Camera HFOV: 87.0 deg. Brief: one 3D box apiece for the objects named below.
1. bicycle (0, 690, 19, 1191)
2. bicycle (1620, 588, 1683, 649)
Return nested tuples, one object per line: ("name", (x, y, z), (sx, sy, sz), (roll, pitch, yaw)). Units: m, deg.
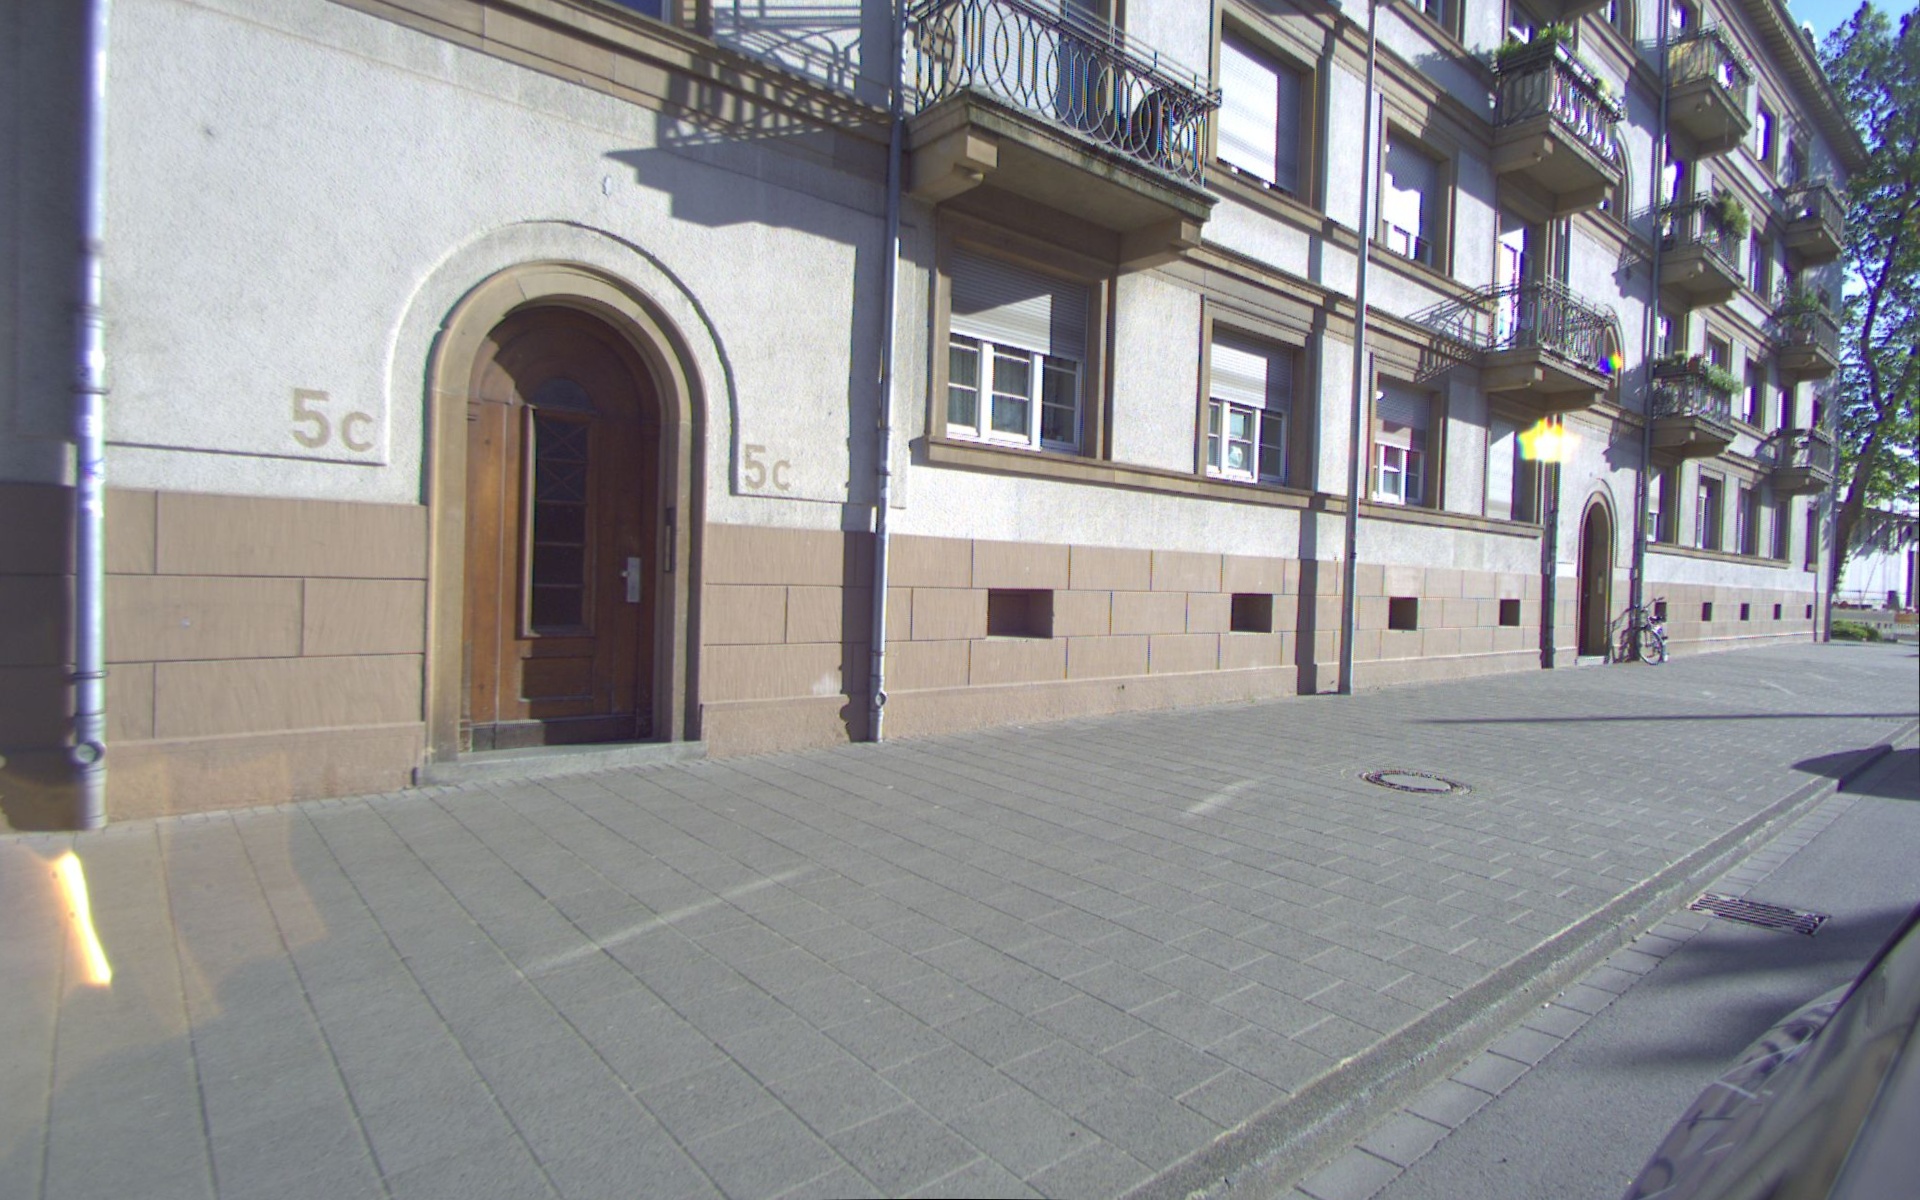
("bicycle", (-2.887, 0.723, 1.492), (2.160, 0.965, 0.769), (0, 2, -41))
("bicycle", (13.301, 0.341, 19.442), (2.159, 1.109, 0.419), (0, 2, -41))
